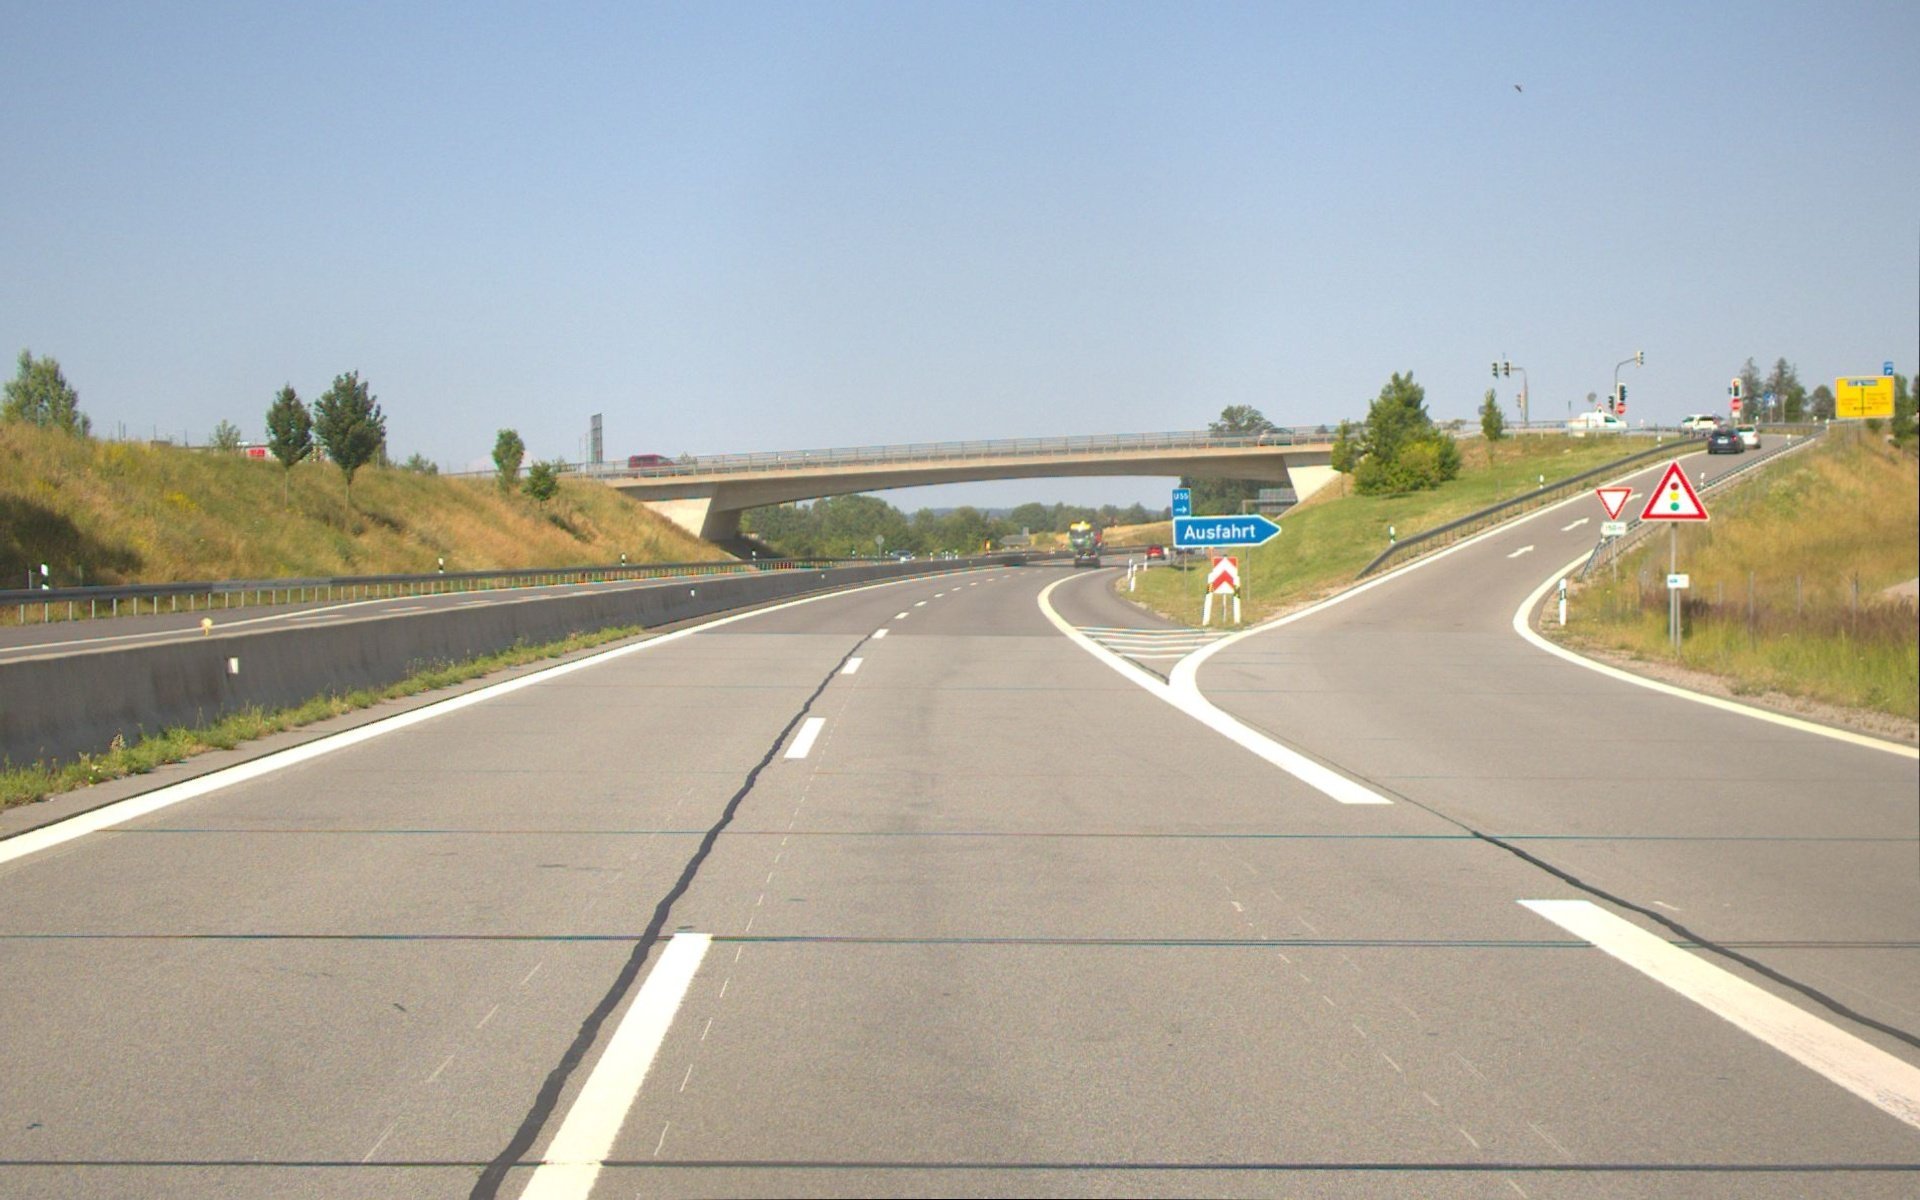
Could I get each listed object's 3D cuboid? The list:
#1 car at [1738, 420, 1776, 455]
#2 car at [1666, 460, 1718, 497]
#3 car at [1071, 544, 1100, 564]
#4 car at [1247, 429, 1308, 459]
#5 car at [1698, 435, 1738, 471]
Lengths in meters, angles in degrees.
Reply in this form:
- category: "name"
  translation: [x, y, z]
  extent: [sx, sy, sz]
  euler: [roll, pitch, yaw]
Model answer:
- category: "car"
  translation: [48.643, -9.890, 209.737]
  extent: [1.995, 2.007, 3.997]
  euler: [-2, 1, 17]
- category: "car"
  translation: [34.064, -5.621, 159.885]
  extent: [1.995, 1.612, 3.997]
  euler: [-2, 1, 17]
- category: "car"
  translation: [9.154, -3.364, 250.794]
  extent: [1.993, 1.415, 4.000]
  euler: [-2, 1, 1]
- category: "car"
  translation: [23.593, -11.606, 255.711]
  extent: [4.247, 2.014, 2.000]
  euler: [-2, 2, -3]
- category: "car"
  translation: [45.000, -8.696, 204.073]
  extent: [1.995, 2.007, 3.997]
  euler: [-2, 1, 17]
